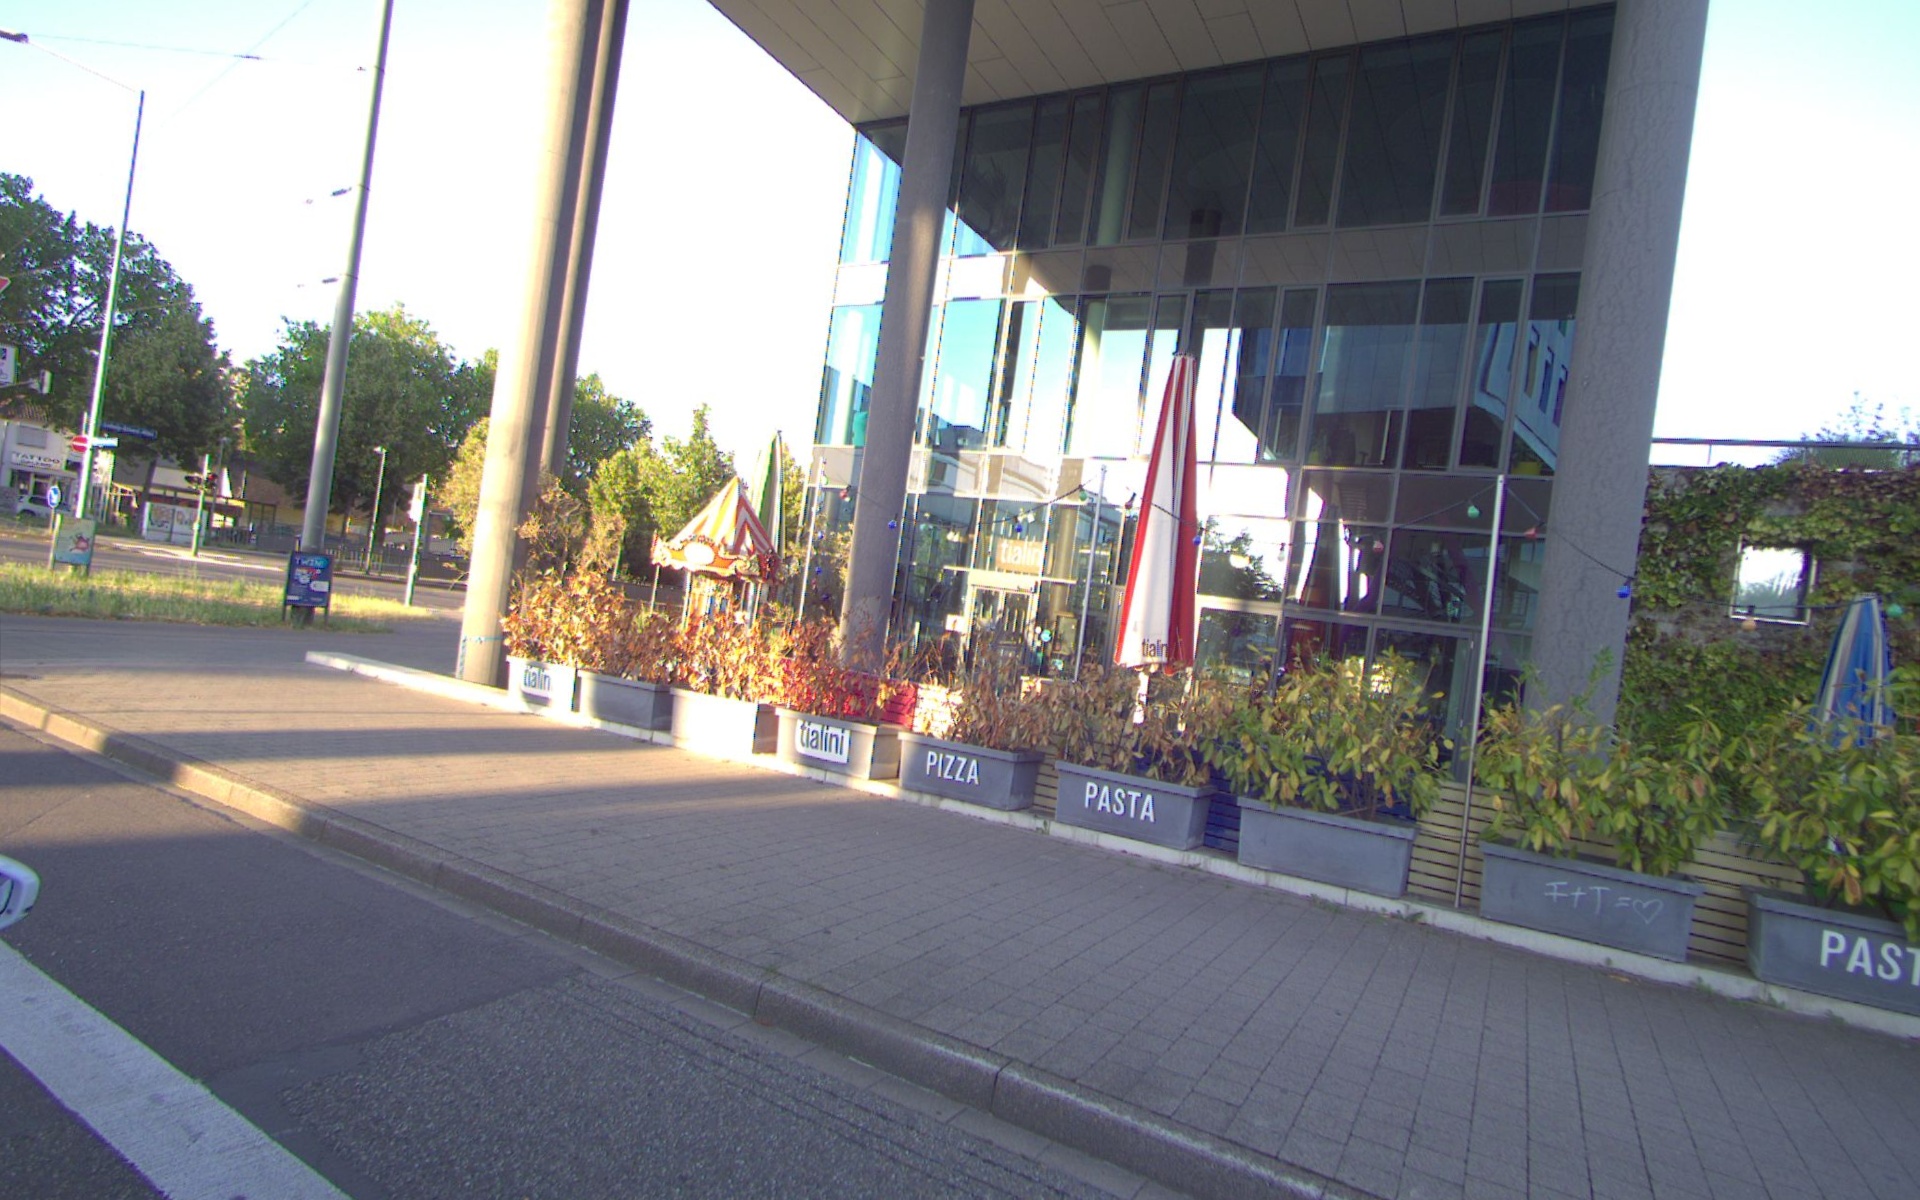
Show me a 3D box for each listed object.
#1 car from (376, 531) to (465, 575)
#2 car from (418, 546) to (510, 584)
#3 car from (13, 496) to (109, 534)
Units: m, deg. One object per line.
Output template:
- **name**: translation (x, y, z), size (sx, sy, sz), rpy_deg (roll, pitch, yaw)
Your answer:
- **car**: translation (-42.571, -3.694, 79.552), size (2.197, 2.581, 5.594), rpy_deg (7, -2, 39)
- **car**: translation (-28.589, -1.998, 58.061), size (1.776, 1.513, 4.336), rpy_deg (6, -2, 34)
- **car**: translation (-50.198, -4.728, 56.209), size (1.641, 1.456, 3.736), rpy_deg (6, -2, 41)
